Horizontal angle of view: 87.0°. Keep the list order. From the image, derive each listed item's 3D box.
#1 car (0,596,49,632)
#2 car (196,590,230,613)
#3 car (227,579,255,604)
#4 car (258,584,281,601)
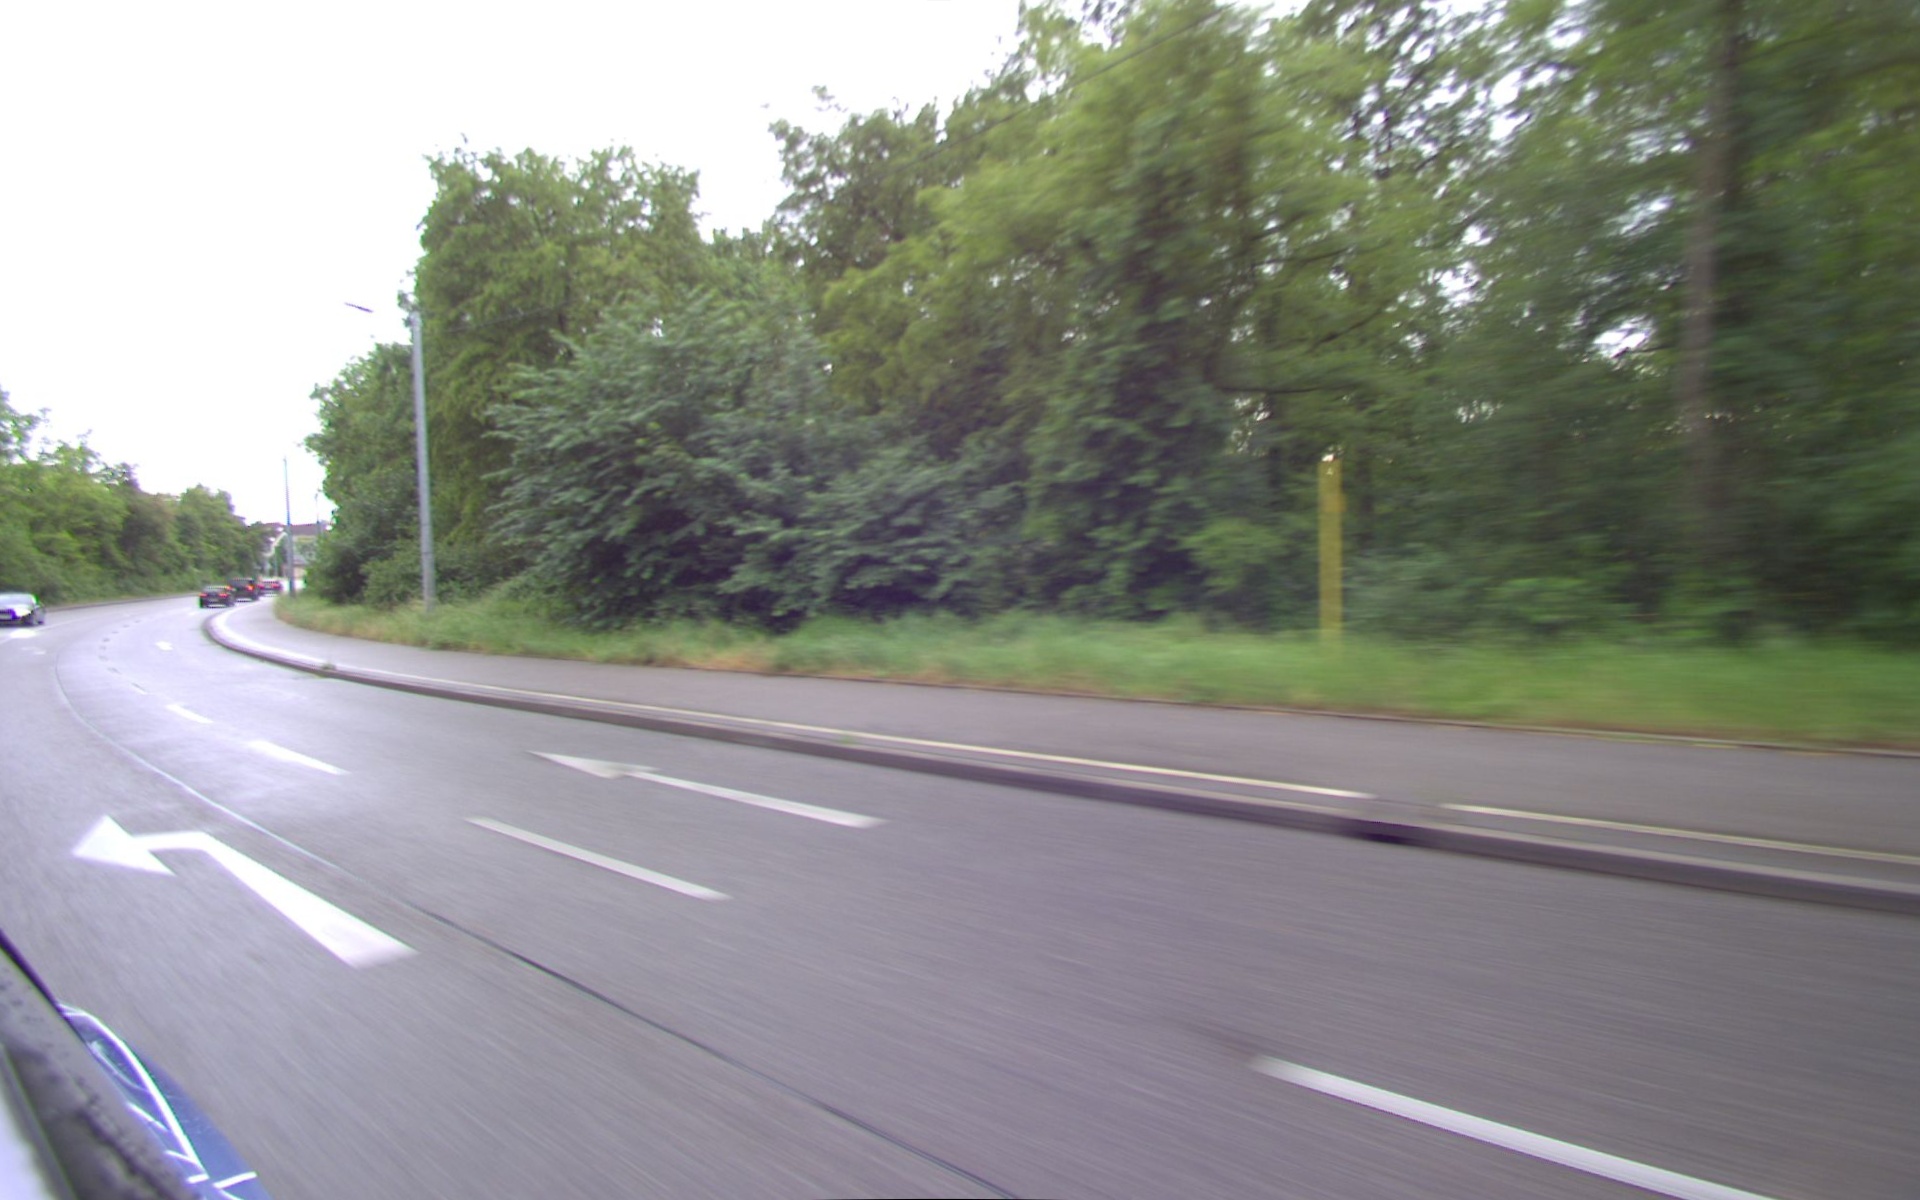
[{"bbox_3d":[-42.609,0.617,45.581,1.802,1.532,4.010,3,-3,-35],"label":"car"},{"bbox_3d":[-53.140,0.121,72.032,1.803,1.451,4.010,-3,1,-35],"label":"car"},{"bbox_3d":[-60.964,-0.699,85.860,1.802,1.857,4.723,3,-3,-35],"label":"car"},{"bbox_3d":[-70.515,-0.762,103.380,1.802,1.532,4.010,3,-3,-35],"label":"car"}]
